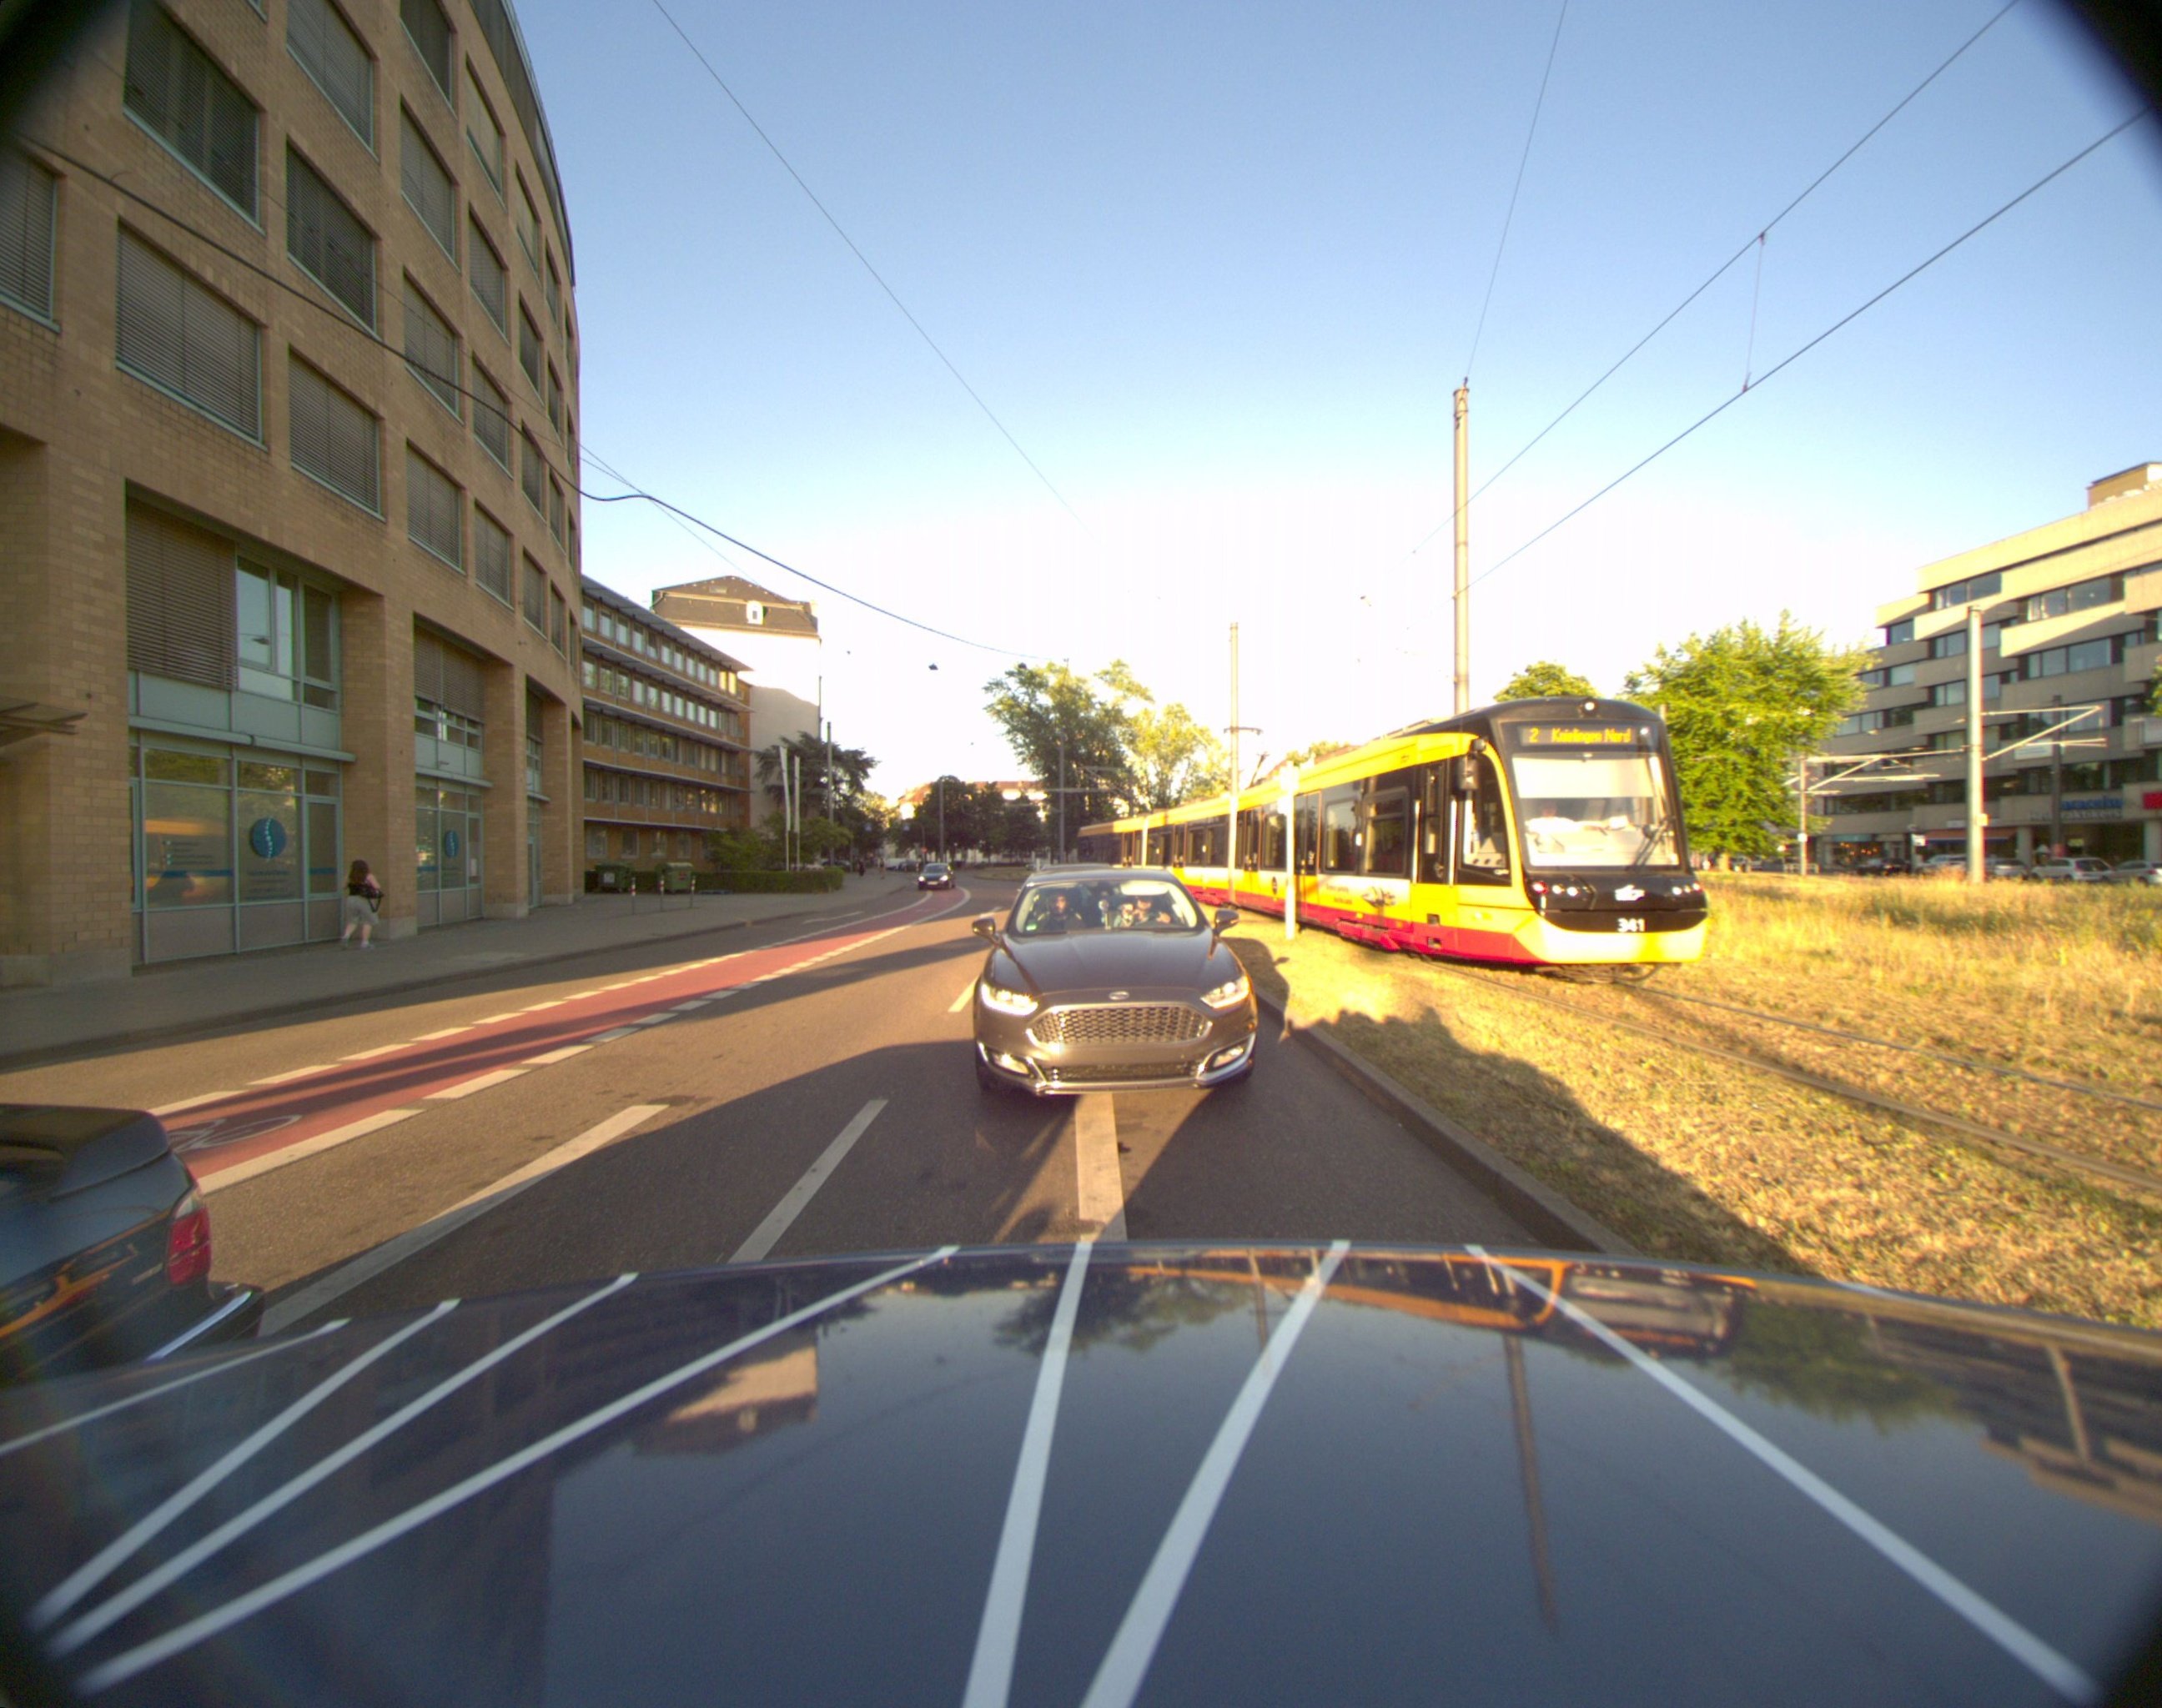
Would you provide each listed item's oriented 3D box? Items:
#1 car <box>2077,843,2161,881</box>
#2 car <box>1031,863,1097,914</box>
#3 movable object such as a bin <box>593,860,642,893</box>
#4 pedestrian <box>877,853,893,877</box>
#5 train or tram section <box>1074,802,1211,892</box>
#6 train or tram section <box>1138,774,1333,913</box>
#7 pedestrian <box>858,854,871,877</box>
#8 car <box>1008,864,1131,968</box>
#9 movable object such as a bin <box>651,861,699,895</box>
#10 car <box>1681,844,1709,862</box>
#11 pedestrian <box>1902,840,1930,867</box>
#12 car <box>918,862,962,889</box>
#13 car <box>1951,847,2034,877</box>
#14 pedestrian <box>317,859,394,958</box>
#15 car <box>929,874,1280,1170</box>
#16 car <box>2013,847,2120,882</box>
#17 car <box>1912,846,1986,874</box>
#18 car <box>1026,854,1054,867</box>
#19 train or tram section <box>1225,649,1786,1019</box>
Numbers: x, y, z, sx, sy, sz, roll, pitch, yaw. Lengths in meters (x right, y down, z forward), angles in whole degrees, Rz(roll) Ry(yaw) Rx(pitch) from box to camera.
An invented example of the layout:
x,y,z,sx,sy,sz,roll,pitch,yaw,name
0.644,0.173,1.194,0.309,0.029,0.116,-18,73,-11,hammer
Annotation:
x,y,z,sx,sy,sz,roll,pitch,yaw,name
54.055,0.366,38.934,1.921,1.853,4.006,0,0,23,car
-0.649,1.084,25.303,1.999,1.453,4.141,-1,0,-4,car
-21.189,1.033,34.749,1.427,1.450,1.332,-1,0,-2,movable object such as a bin
-15.538,0.855,60.197,0.913,1.883,1.124,-1,1,-28,pedestrian
2.537,-0.314,37.578,2.916,3.717,12.175,-1,0,-15,train or tram section
4.662,-0.298,26.589,2.886,3.717,12.175,-1,0,-7,train or tram section
-17.203,0.882,60.374,0.728,1.797,0.724,-1,1,1,pedestrian
-0.131,0.985,14.089,1.897,1.526,4.705,-1,0,1,car
-18.275,1.061,34.241,1.427,1.450,1.332,-1,0,-3,movable object such as a bin
72.033,-0.142,89.173,1.995,2.002,4.007,-2,1,32,car
63.892,-0.015,58.161,1.138,2.023,0.892,-1,1,3,pedestrian
-8.003,1.205,43.448,1.759,1.379,3.999,-2,0,-1,car
58.828,0.506,49.144,1.995,1.868,4.007,0,0,27,car
-12.619,0.929,13.243,0.628,1.672,0.713,-1,1,-3,pedestrian
0.168,0.978,6.486,1.890,1.477,4.725,0,0,1,car
56.284,0.564,43.522,1.995,1.868,4.006,-1,0,22,car
61.331,0.387,53.775,1.995,1.925,4.007,-1,0,24,car
-5.626,0.899,105.123,1.995,1.739,4.007,0,0,28,car
5.584,-0.223,14.323,2.916,3.717,13.215,-1,0,-1,train or tram section
